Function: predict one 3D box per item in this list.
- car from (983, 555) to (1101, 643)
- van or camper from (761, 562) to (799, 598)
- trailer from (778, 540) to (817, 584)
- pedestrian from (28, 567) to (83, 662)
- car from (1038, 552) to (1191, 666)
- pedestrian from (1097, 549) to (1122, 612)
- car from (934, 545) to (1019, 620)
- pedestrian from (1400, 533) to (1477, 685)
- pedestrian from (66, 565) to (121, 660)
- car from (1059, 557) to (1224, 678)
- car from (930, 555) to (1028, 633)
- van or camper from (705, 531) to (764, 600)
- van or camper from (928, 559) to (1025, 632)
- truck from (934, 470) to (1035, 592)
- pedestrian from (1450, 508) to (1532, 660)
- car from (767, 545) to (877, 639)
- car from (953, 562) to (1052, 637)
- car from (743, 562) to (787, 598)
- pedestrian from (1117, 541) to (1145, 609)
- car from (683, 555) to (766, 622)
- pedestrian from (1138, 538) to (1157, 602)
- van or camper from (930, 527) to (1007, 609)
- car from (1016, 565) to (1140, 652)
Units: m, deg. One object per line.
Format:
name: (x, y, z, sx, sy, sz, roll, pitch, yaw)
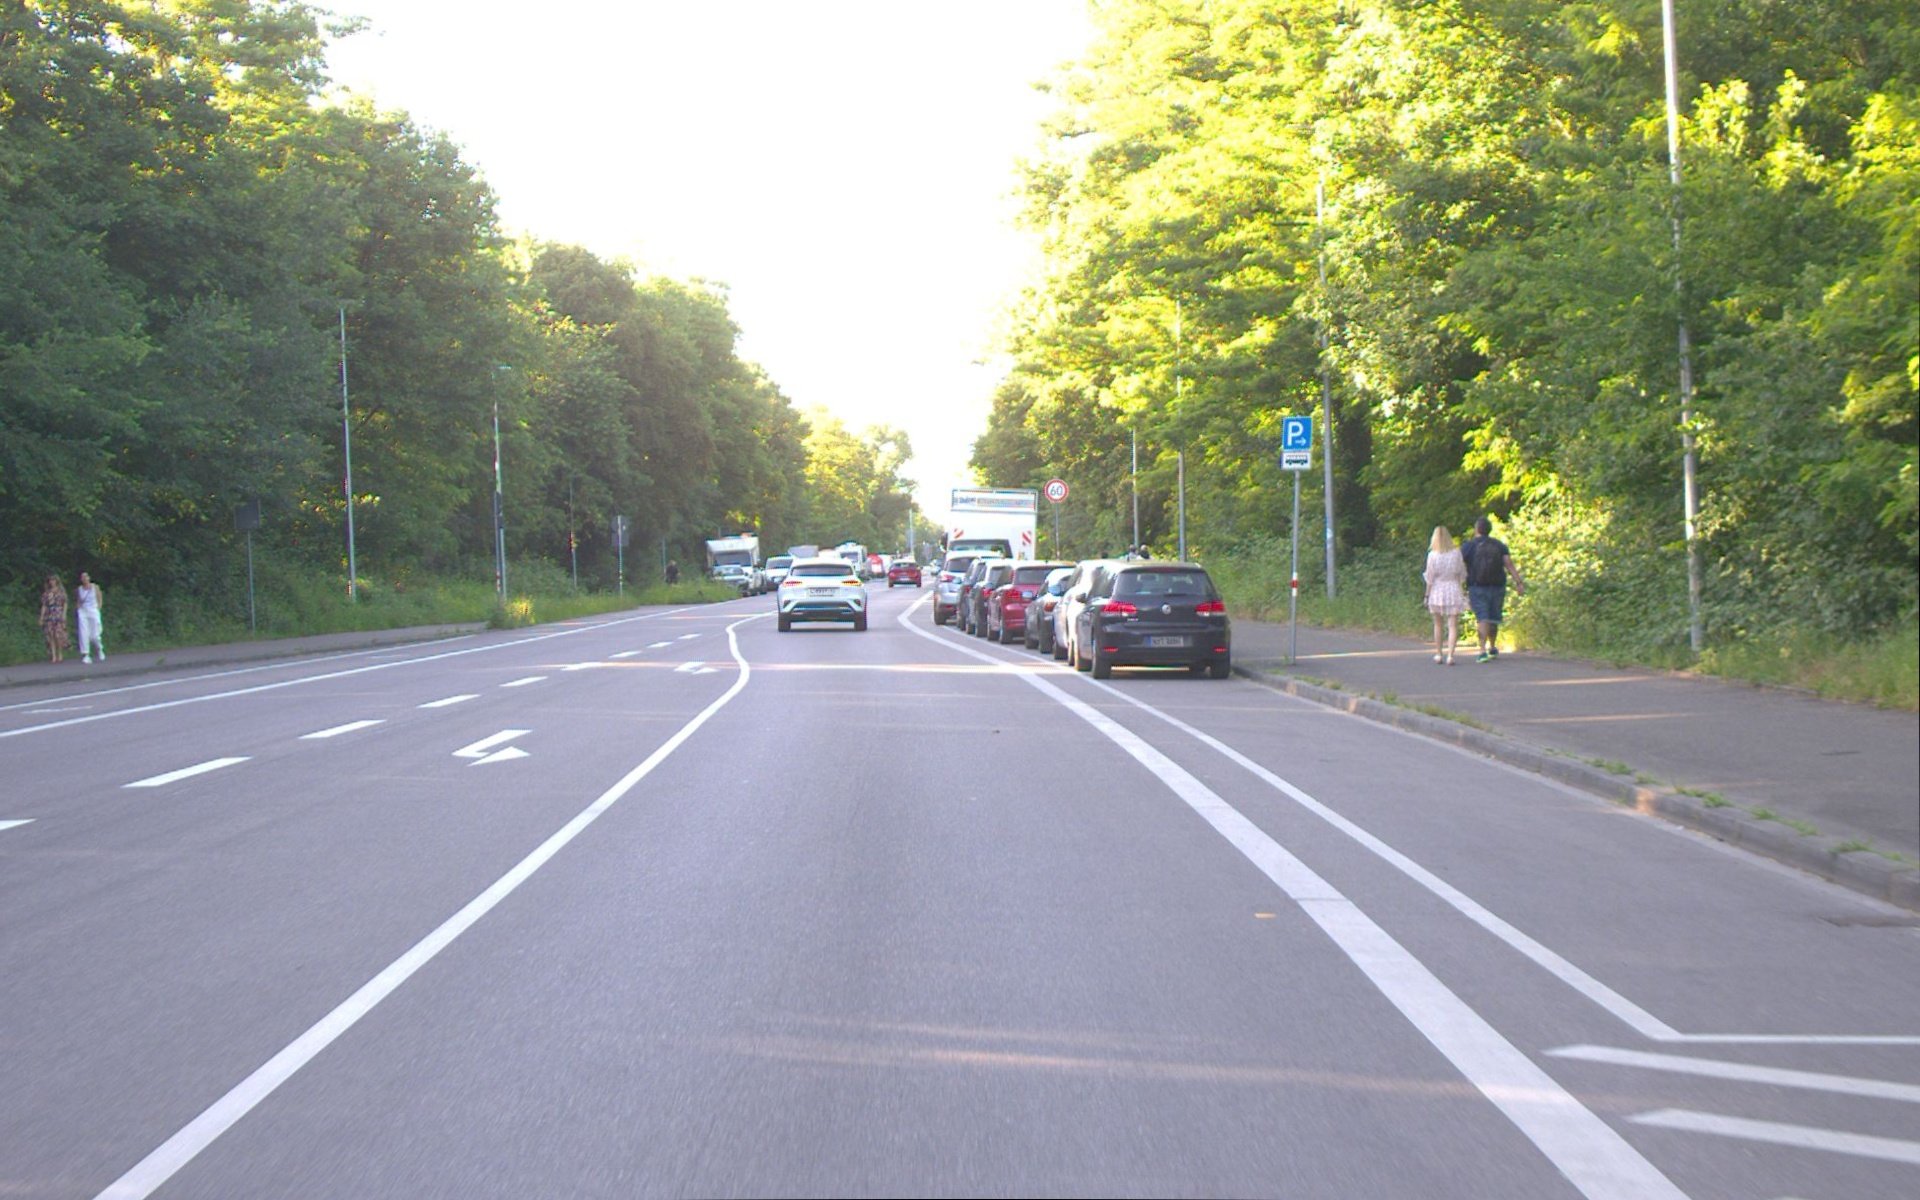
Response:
car: (1.405, -0.038, 60.335, 1.616, 1.464, 3.725, 1, 1, -6)
van or camper: (-10.020, -1.115, 191.427, 1.835, 1.905, 4.856, -3, 1, 0)
trailer: (-10.118, -2.369, 214.370, 1.993, 2.589, 4.416, -3, 0, 1)
pedestrian: (-15.982, 0.245, 60.735, 0.675, 1.648, 0.790, -1, 1, 5)
car: (2.156, 0.091, 49.122, 1.737, 1.519, 4.360, -2, 1, -3)
pedestrian: (3.852, -0.507, 88.693, 0.563, 1.582, 0.482, -2, 1, 0)
car: (0.381, -0.401, 76.492, 1.798, 1.589, 4.029, -1, 1, 1)
pedestrian: (5.812, 0.100, 41.796, 0.675, 1.793, 0.790, -3, 1, -5)
pedestrian: (-15.295, 0.224, 60.689, 0.675, 1.648, 0.790, -1, 1, 5)
car: (2.311, 0.189, 44.634, 1.656, 1.447, 4.021, -2, 1, -3)
car: (0.359, -0.149, 70.968, 1.807, 1.514, 4.504, 1, 1, -2)
van or camper: (-10.322, -1.586, 157.573, 2.314, 2.960, 7.112, -4, 1, -2)
van or camper: (0.717, -0.228, 141.532, 2.442, 2.790, 6.552, -2, 1, 14)
truck: (0.684, -2.064, 104.190, 2.832, 3.485, 8.579, -1, 1, -1)
pedestrian: (6.463, -0.199, 41.880, 0.675, 1.793, 0.953, -3, 1, -5)
car: (-2.827, -0.192, 71.124, 2.029, 1.834, 4.029, -1, 1, 1)
car: (0.799, -0.034, 66.095, 1.594, 1.396, 3.799, 0, 1, -4)
car: (-8.531, -0.876, 150.597, 1.827, 1.471, 4.682, -3, 1, -3)
pedestrian: (4.514, -0.656, 90.854, 0.618, 1.758, 0.907, -2, 1, 0)
car: (-5.577, -0.290, 81.870, 1.807, 1.514, 4.504, 1, 1, -2)
pedestrian: (4.718, -0.758, 86.537, 0.394, 1.582, 0.482, -2, 1, 0)
van or camper: (0.233, -0.837, 88.876, 1.897, 2.007, 4.587, -1, 1, 1)
car: (1.841, 0.114, 54.583, 1.628, 1.315, 3.841, 0, 1, -3)
